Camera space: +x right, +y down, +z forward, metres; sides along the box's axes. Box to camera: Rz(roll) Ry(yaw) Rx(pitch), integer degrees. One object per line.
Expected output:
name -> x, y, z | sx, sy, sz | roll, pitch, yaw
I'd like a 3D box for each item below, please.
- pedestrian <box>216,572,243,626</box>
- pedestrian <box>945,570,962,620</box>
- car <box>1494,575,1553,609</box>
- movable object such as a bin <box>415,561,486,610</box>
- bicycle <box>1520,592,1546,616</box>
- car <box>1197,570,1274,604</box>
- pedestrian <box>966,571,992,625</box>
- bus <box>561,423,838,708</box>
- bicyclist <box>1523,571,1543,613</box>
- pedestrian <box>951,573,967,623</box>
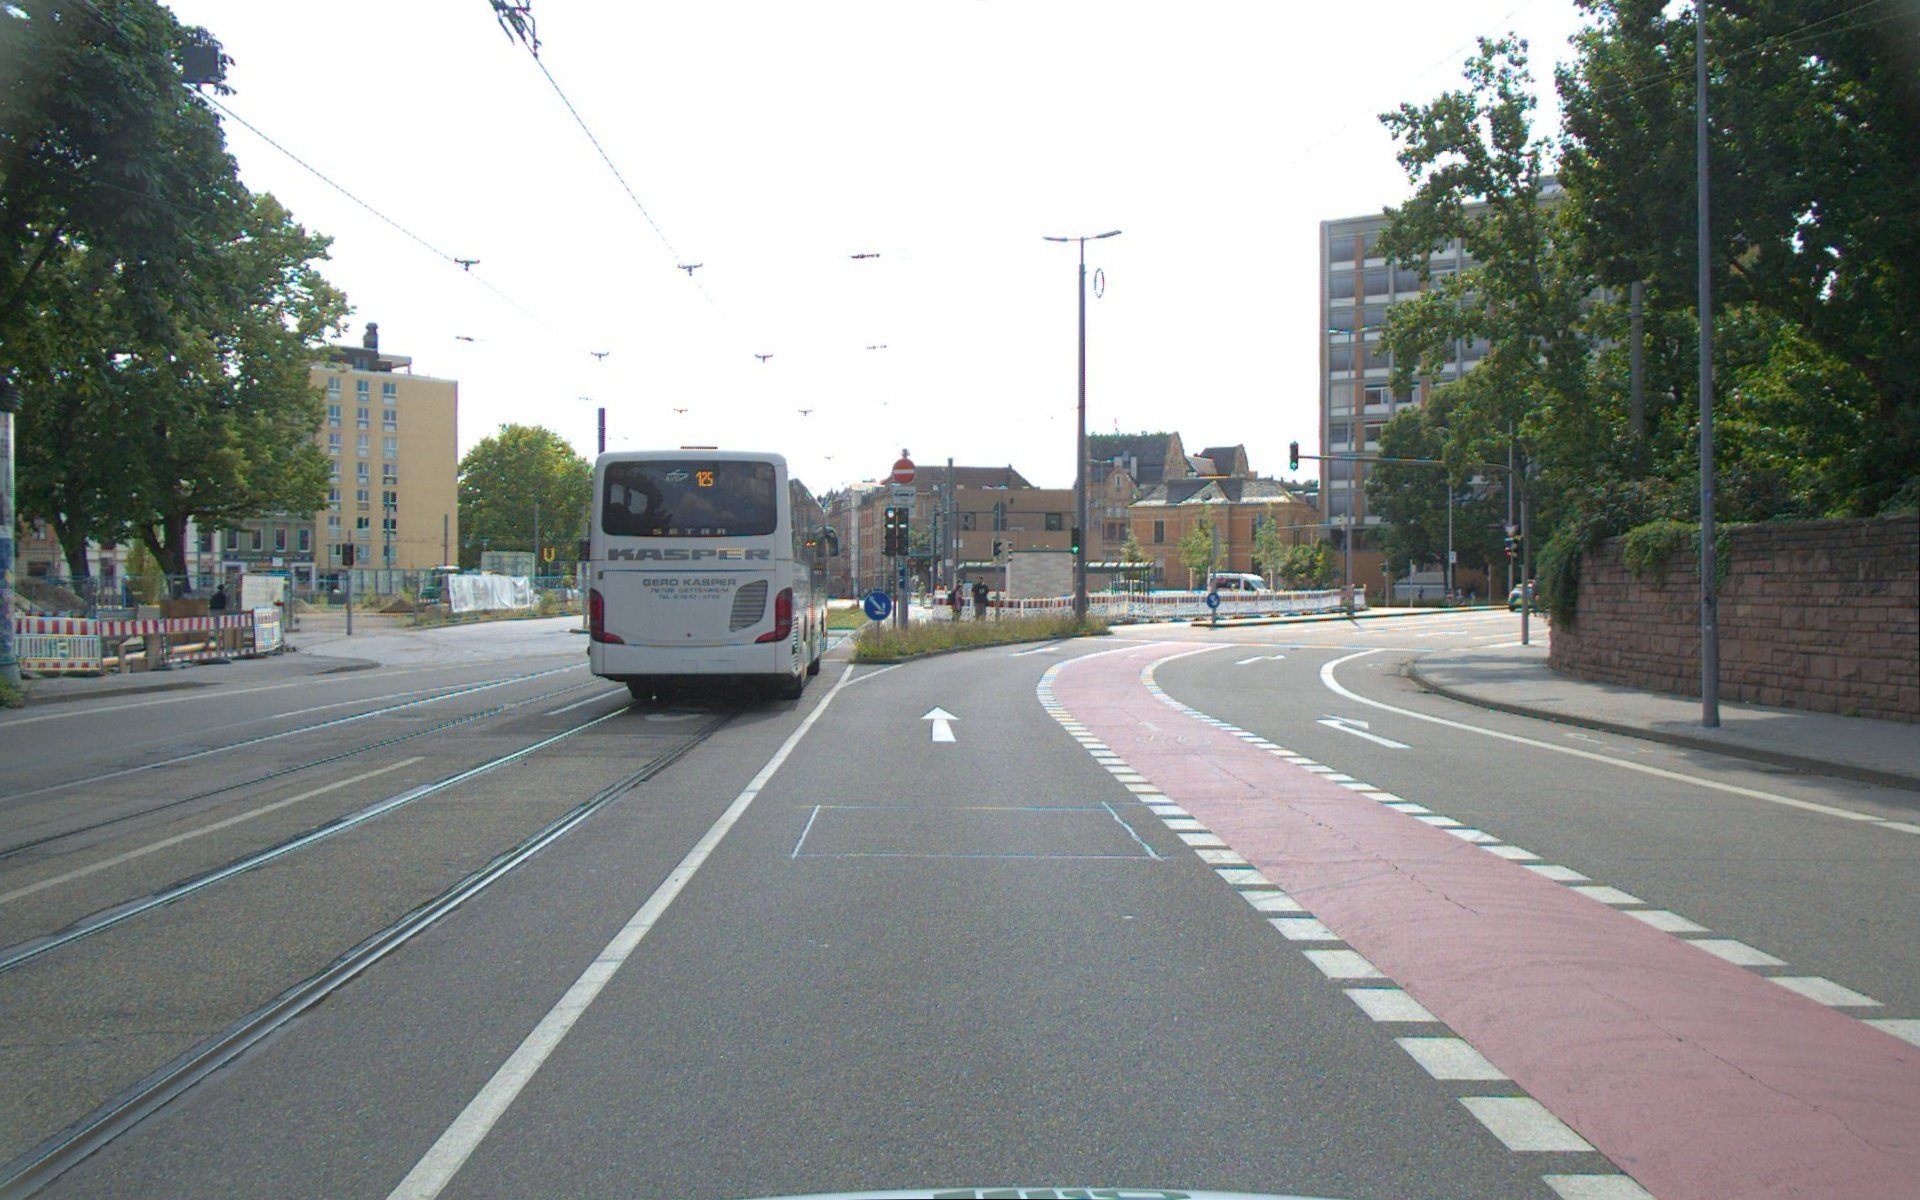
pedestrian -> -22.949, -0.037, 51.956 | 0.777, 1.681, 0.575 | 0, 0, -26
pedestrian -> -0.228, -0.181, 58.376 | 0.598, 1.736, 0.623 | 0, 0, 2
car -> 30.507, -0.446, 89.430 | 2.092, 1.713, 4.091 | 2, 2, 33
movable object such as a bin -> -27.868, -0.806, 90.589 | 2.587, 2.619, 4.000 | 0, 0, 1
bicycle -> 27.924, 0.170, 80.586 | 0.708, 1.103, 2.185 | 0, 1, 33
car -> 20.096, -0.943, 120.955 | 2.278, 2.359, 5.513 | 0, 0, -38
pedestrian -> 0.683, -0.073, 59.862 | 0.780, 1.917, 0.609 | 0, 0, -21
bus -> -3.579, -0.434, 26.013 | 2.859, 3.386, 12.200 | 1, 0, -2
bicyclist -> 27.933, -0.392, 80.601 | 0.705, 2.008, 0.837 | 0, 1, 33
pedestrian -> -0.033, -0.067, 59.193 | 0.400, 1.766, 0.621 | 0, 0, 18
